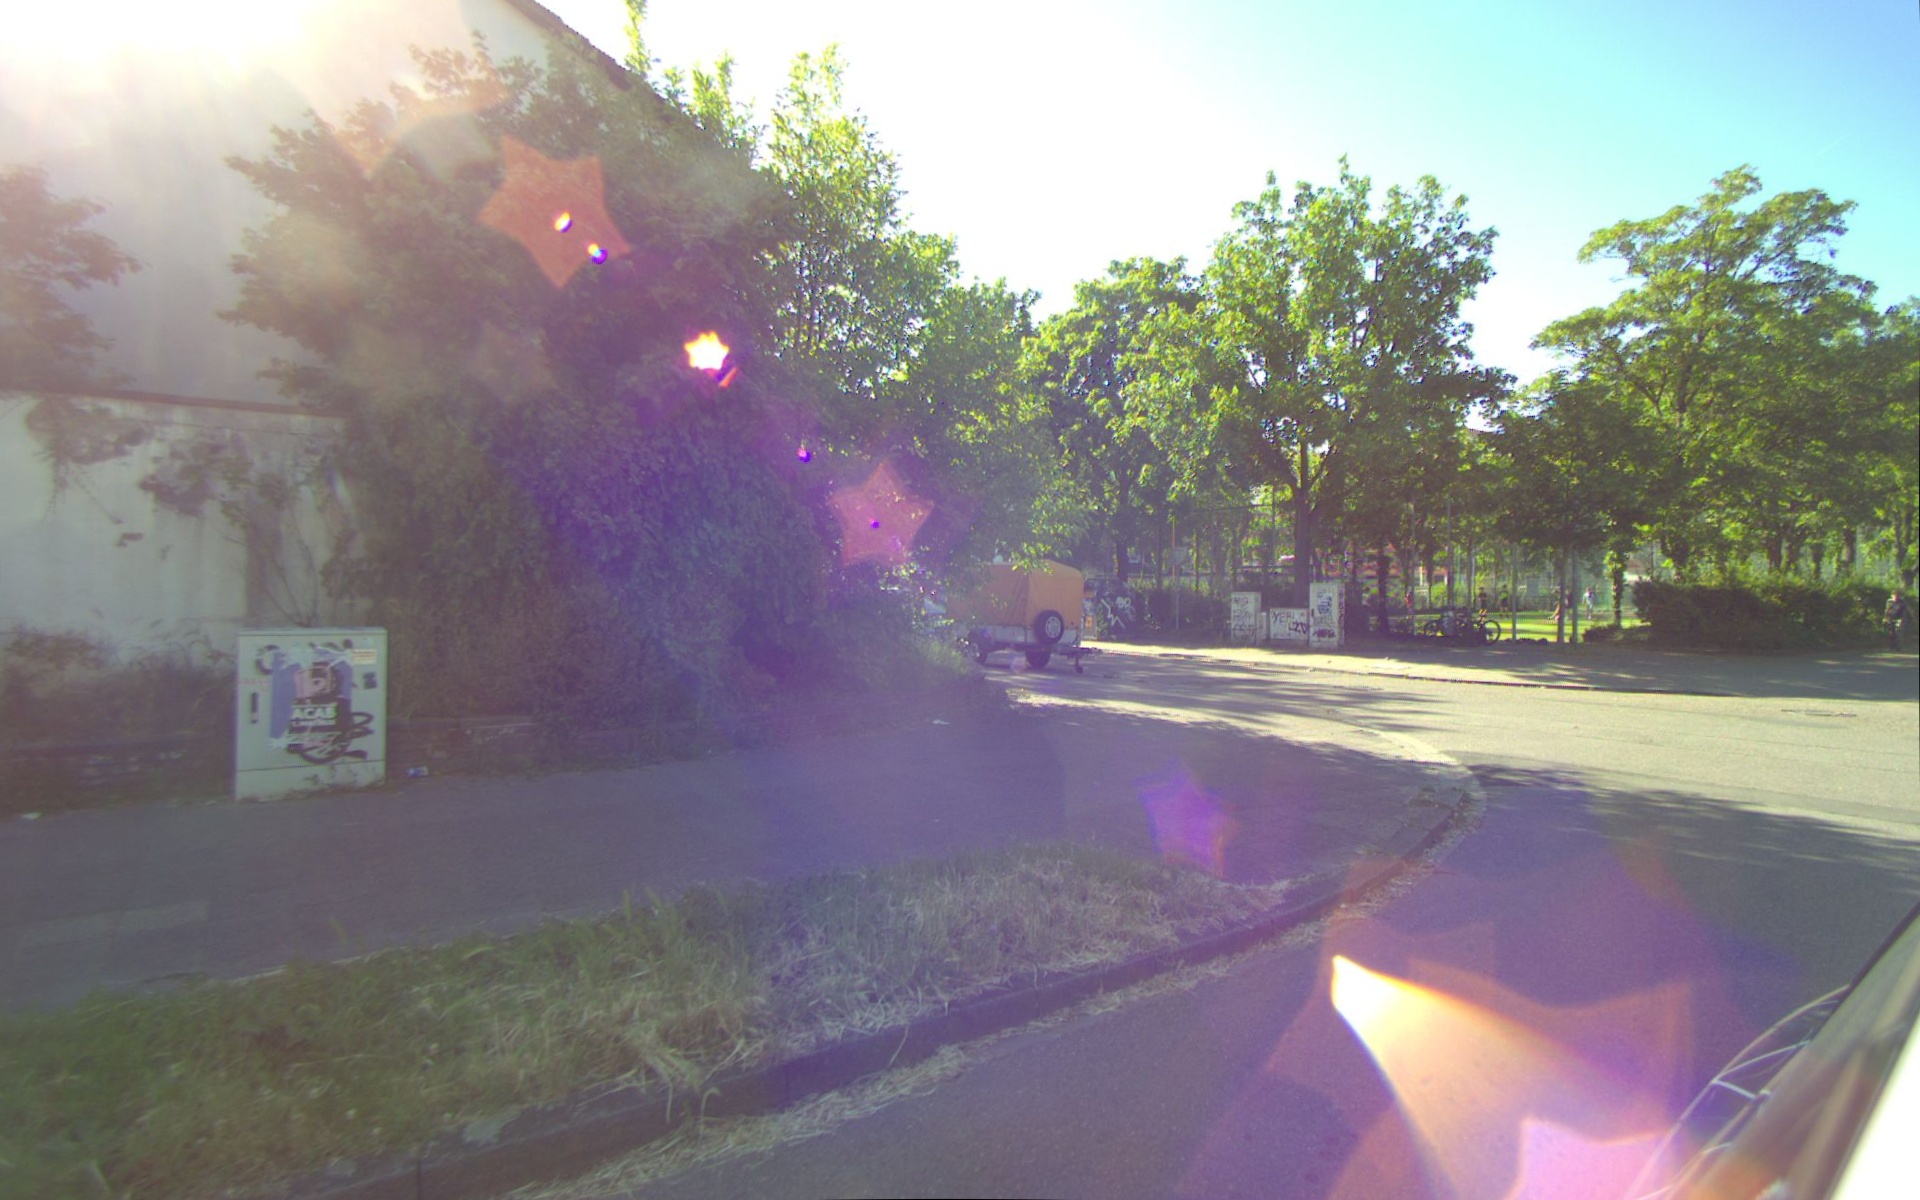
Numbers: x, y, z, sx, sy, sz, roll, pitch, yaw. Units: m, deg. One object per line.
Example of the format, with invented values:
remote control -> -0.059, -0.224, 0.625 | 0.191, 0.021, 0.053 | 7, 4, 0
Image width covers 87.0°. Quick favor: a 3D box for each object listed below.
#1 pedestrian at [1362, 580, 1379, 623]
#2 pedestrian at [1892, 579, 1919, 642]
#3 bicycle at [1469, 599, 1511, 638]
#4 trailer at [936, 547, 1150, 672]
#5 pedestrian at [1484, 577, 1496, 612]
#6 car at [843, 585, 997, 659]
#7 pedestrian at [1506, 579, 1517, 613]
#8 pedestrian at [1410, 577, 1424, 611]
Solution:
pedestrian -> 15.015, 0.048, 37.031 | 0.422, 1.555, 0.437 | 1, 0, -39
pedestrian -> 25.490, 0.270, 27.106 | 0.628, 1.659, 0.642 | 0, 0, -32
bicycle -> 13.520, 0.468, 25.817 | 0.891, 0.970, 0.294 | 0, 0, 7
trailer -> 1.498, 0.140, 19.657 | 1.941, 2.146, 4.075 | 1, 0, -35
pedestrian -> 23.155, -0.244, 44.192 | 0.386, 1.555, 0.320 | 1, 0, -39
car -> -1.024, 0.444, 23.865 | 1.854, 1.530, 3.932 | -1, 2, -34
pedestrian -> 25.117, -0.186, 46.070 | 0.394, 1.555, 0.317 | 1, 0, -39
pedestrian -> 21.055, -0.264, 46.607 | 0.422, 1.555, 0.437 | 1, 0, -39
